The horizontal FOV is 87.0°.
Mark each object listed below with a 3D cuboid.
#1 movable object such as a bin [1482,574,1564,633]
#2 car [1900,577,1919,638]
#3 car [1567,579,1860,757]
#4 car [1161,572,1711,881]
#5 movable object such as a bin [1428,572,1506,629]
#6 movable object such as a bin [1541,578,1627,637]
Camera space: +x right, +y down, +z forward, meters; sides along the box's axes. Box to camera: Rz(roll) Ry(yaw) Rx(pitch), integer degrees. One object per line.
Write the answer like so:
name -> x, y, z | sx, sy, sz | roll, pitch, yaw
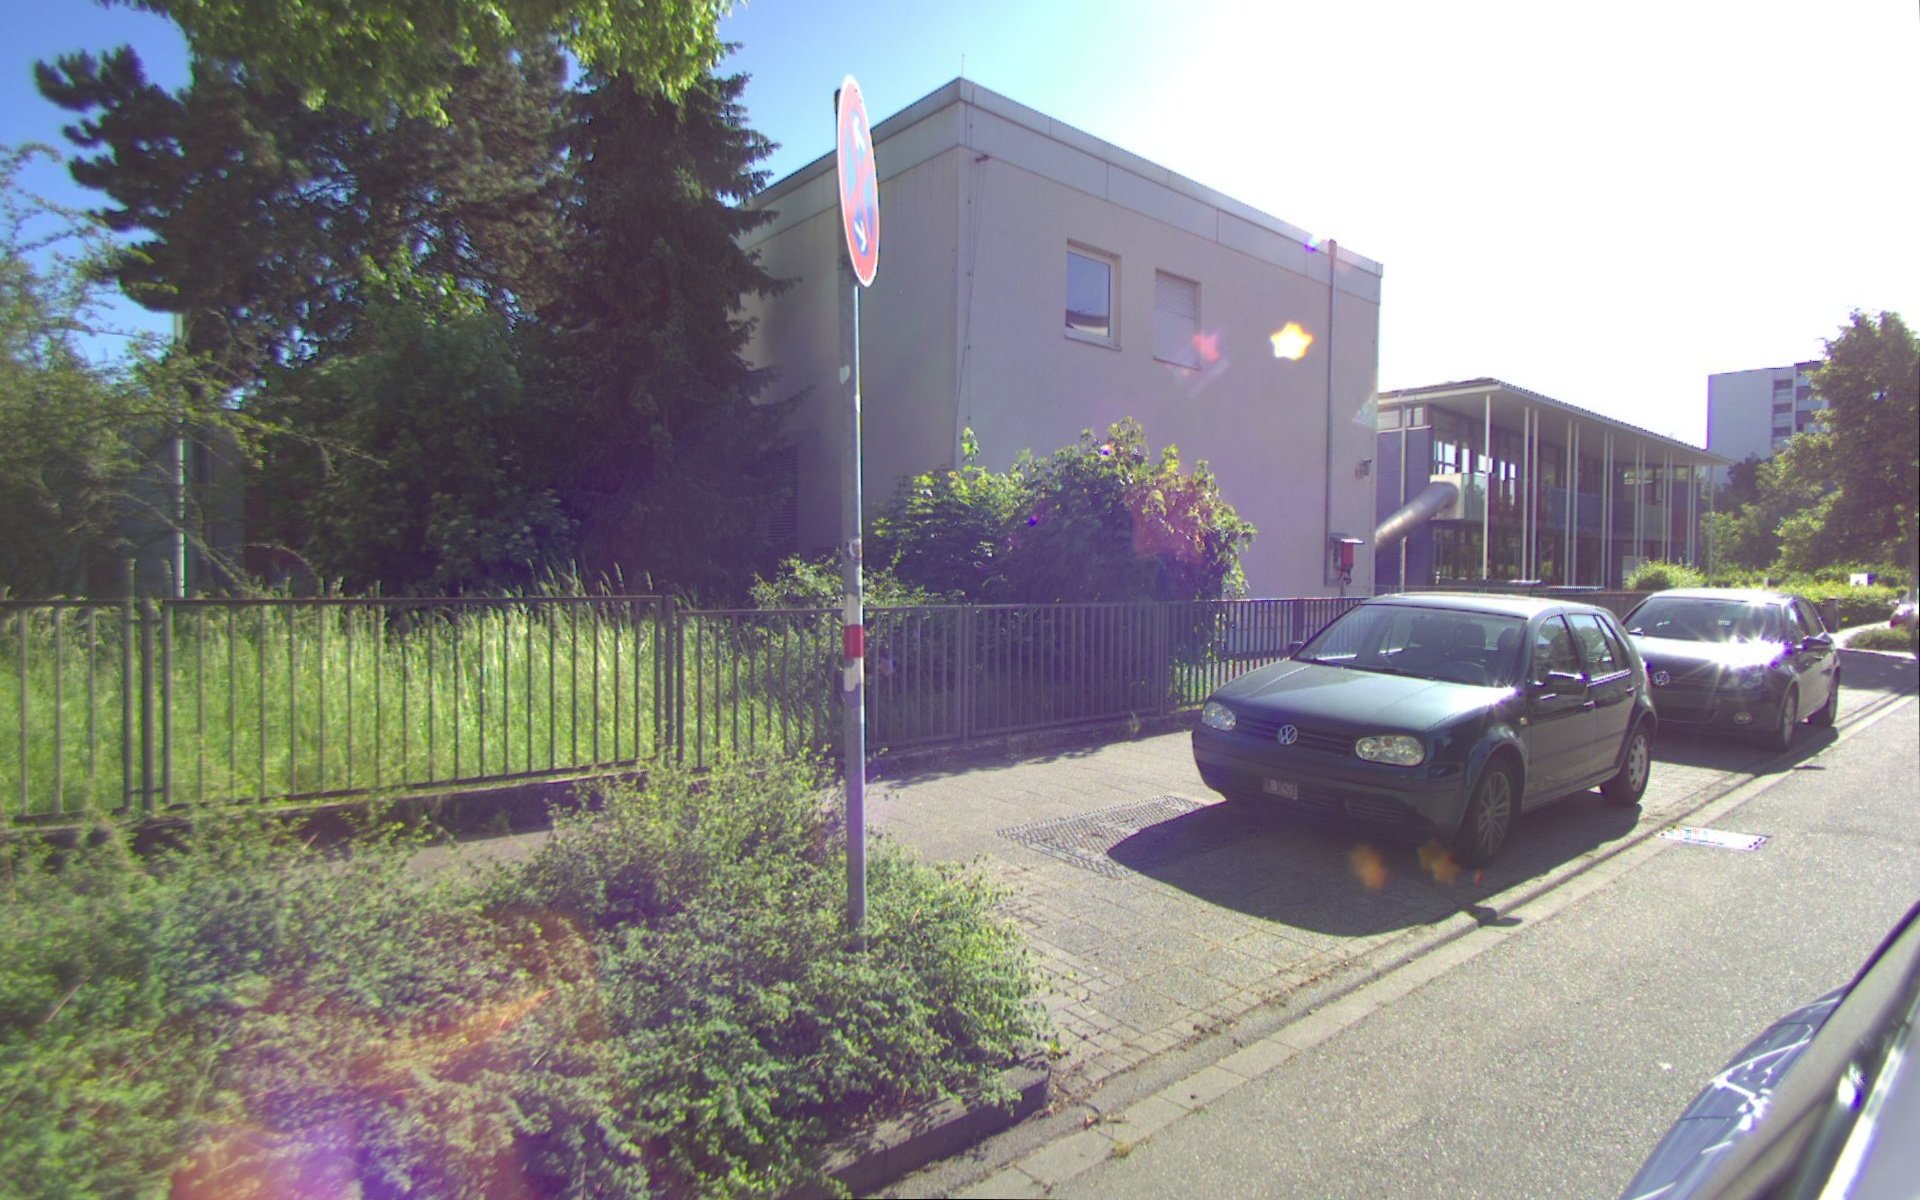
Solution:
movable object such as a bin -> 14.577, 0.066, 26.198 | 1.602, 1.466, 1.369 | -1, 2, -40
car -> 25.829, 0.186, 26.309 | 3.780, 1.522, 1.678 | -1, 2, -42
car -> 8.178, 0.561, 10.857 | 3.932, 1.534, 1.786 | -1, 2, -42
car -> 3.433, 0.547, 6.878 | 4.346, 1.439, 1.750 | -2, 2, -40
movable object such as a bin -> 13.657, -0.008, 27.247 | 1.602, 1.466, 1.333 | -1, 2, -40
movable object such as a bin -> 15.452, 0.157, 25.066 | 1.602, 1.374, 1.369 | -1, 2, -40
